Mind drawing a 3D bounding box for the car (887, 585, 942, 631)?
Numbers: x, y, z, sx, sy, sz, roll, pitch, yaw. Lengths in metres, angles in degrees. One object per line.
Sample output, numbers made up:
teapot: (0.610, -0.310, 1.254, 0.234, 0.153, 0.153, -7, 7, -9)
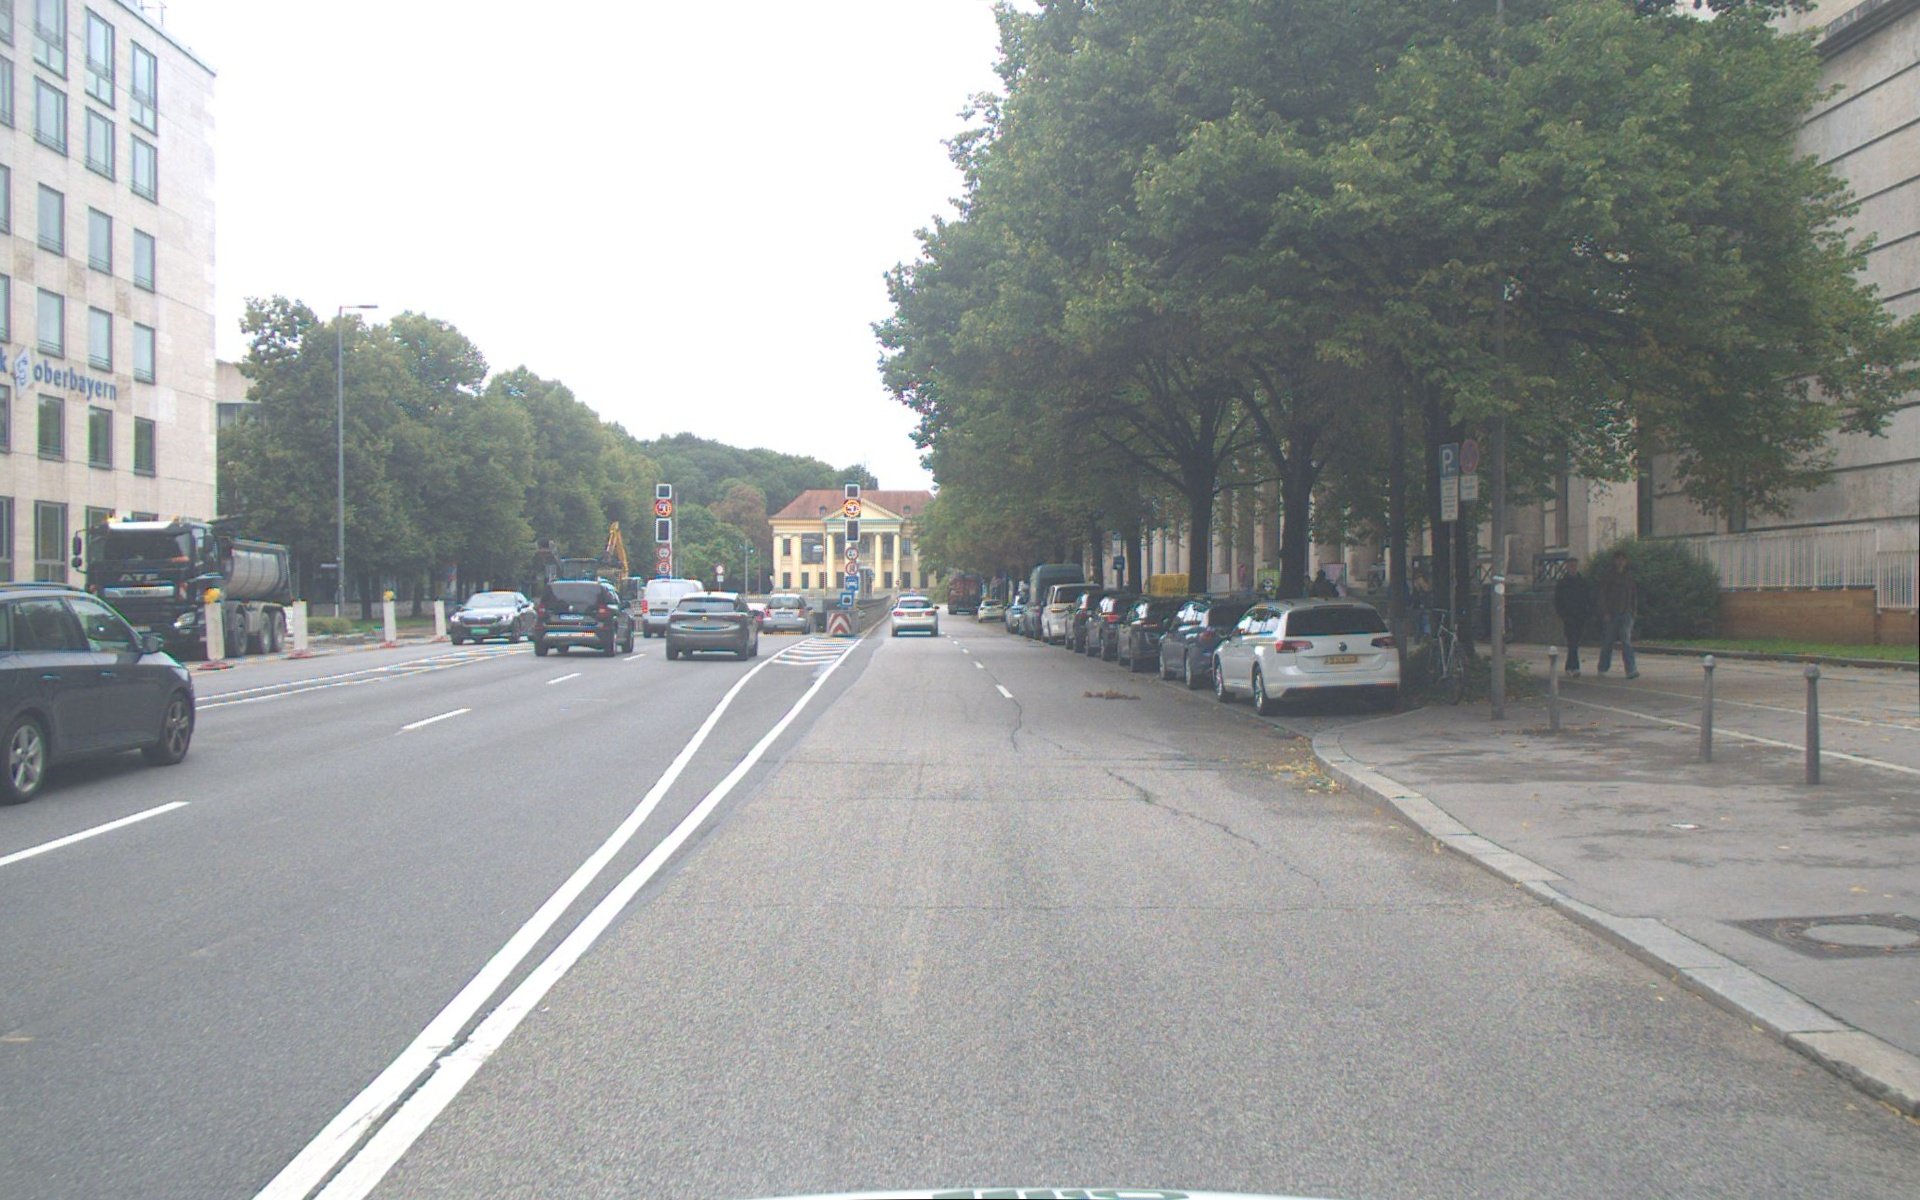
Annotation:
car: (-1.760, 0.296, 63.146, 1.745, 1.673, 3.994, 1, 0, -7)

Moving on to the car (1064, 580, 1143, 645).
car: (3.926, 0.324, 45.908, 1.689, 1.694, 4.589, -1, 0, -1)

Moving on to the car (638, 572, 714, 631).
car: (-9.507, 0.037, 55.641, 1.860, 1.880, 4.953, 0, 0, -2)

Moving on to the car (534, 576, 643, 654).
car: (-8.421, 0.317, 37.804, 1.688, 1.665, 4.203, 0, 0, -2)

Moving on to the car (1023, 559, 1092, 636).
car: (3.544, -0.103, 60.736, 1.954, 2.689, 4.875, 1, 0, -3)

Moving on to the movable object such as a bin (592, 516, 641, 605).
movable object such as a bin: (-26.243, -2.957, 126.533, 2.645, 6.624, 5.174, 1, 0, -2)

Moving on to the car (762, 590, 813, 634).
car: (-6.908, 0.453, 66.539, 1.743, 1.683, 3.998, 1, 0, -2)

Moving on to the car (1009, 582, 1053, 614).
car: (3.108, -0.100, 72.658, 1.689, 1.347, 4.027, -1, 0, -1)

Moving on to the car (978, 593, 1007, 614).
car: (2.084, 0.216, 107.476, 1.689, 1.347, 4.027, -1, 0, -1)

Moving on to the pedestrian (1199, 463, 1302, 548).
pedestrian: (7.792, -2.509, 44.762, 1.953, 2.049, 3.999, 1, 0, -2)

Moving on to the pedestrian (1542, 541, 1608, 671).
pedestrian: (9.408, 0.088, 25.335, 0.685, 1.943, 0.771, 1, 0, -1)

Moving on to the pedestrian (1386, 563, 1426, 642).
pedestrian: (11.162, 0.052, 41.386, 0.763, 1.943, 0.771, 1, 0, -1)

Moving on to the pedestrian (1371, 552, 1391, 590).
pedestrian: (15.733, -1.070, 61.861, 0.555, 1.397, 0.646, 1, 0, -1)

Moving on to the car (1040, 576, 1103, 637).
car: (3.592, 0.194, 53.778, 1.689, 1.900, 4.027, -1, 0, -1)

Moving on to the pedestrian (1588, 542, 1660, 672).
pedestrian: (10.119, 0.102, 25.237, 0.748, 1.943, 0.771, 1, 0, -1)

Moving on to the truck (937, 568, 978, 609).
truck: (-0.274, -0.999, 144.434, 3.258, 3.426, 8.660, 1, 0, -2)

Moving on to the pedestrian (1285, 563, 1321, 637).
pedestrian: (9.174, -0.005, 44.315, 0.763, 1.943, 0.771, 1, 0, -1)

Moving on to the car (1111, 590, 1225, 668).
car: (4.261, 0.556, 34.464, 1.689, 1.490, 4.775, -1, 0, -1)

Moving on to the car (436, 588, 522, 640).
car: (-15.790, 0.435, 54.488, 1.954, 1.624, 3.996, -1, 0, -5)

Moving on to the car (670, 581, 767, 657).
car: (-5.335, 0.388, 37.010, 1.676, 1.579, 3.999, 1, 0, -2)

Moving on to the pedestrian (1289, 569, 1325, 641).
pedestrian: (9.497, 0.129, 45.304, 0.763, 1.943, 0.771, 1, 0, -1)

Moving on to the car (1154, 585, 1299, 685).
car: (4.529, 0.548, 28.700, 1.689, 1.577, 4.584, -1, 0, -1)

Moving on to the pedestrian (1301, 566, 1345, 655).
pedestrian: (8.111, 0.236, 36.980, 0.763, 1.943, 0.771, 1, 0, -1)

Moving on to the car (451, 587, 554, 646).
car: (-13.364, 0.464, 48.561, 1.953, 1.624, 3.999, -1, 0, -1)

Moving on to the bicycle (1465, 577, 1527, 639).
bicycle: (12.950, 0.177, 40.032, 0.685, 1.440, 2.298, -1, 0, -2)

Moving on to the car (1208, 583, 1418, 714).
car: (4.704, 0.587, 22.726, 1.790, 1.577, 4.750, -1, 0, -1)

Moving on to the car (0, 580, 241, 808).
car: (-7.104, 0.614, 12.207, 1.756, 1.473, 4.274, 0, 0, -1)

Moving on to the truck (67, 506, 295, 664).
truck: (-18.859, -0.361, 40.712, 2.789, 3.415, 8.744, 1, 0, -10)

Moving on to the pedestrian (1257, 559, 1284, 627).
pedestrian: (8.949, -0.194, 47.687, 0.629, 1.943, 0.682, 1, 0, -1)

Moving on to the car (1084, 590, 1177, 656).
car: (4.089, 0.522, 40.270, 1.785, 1.490, 4.027, -1, 0, -1)
